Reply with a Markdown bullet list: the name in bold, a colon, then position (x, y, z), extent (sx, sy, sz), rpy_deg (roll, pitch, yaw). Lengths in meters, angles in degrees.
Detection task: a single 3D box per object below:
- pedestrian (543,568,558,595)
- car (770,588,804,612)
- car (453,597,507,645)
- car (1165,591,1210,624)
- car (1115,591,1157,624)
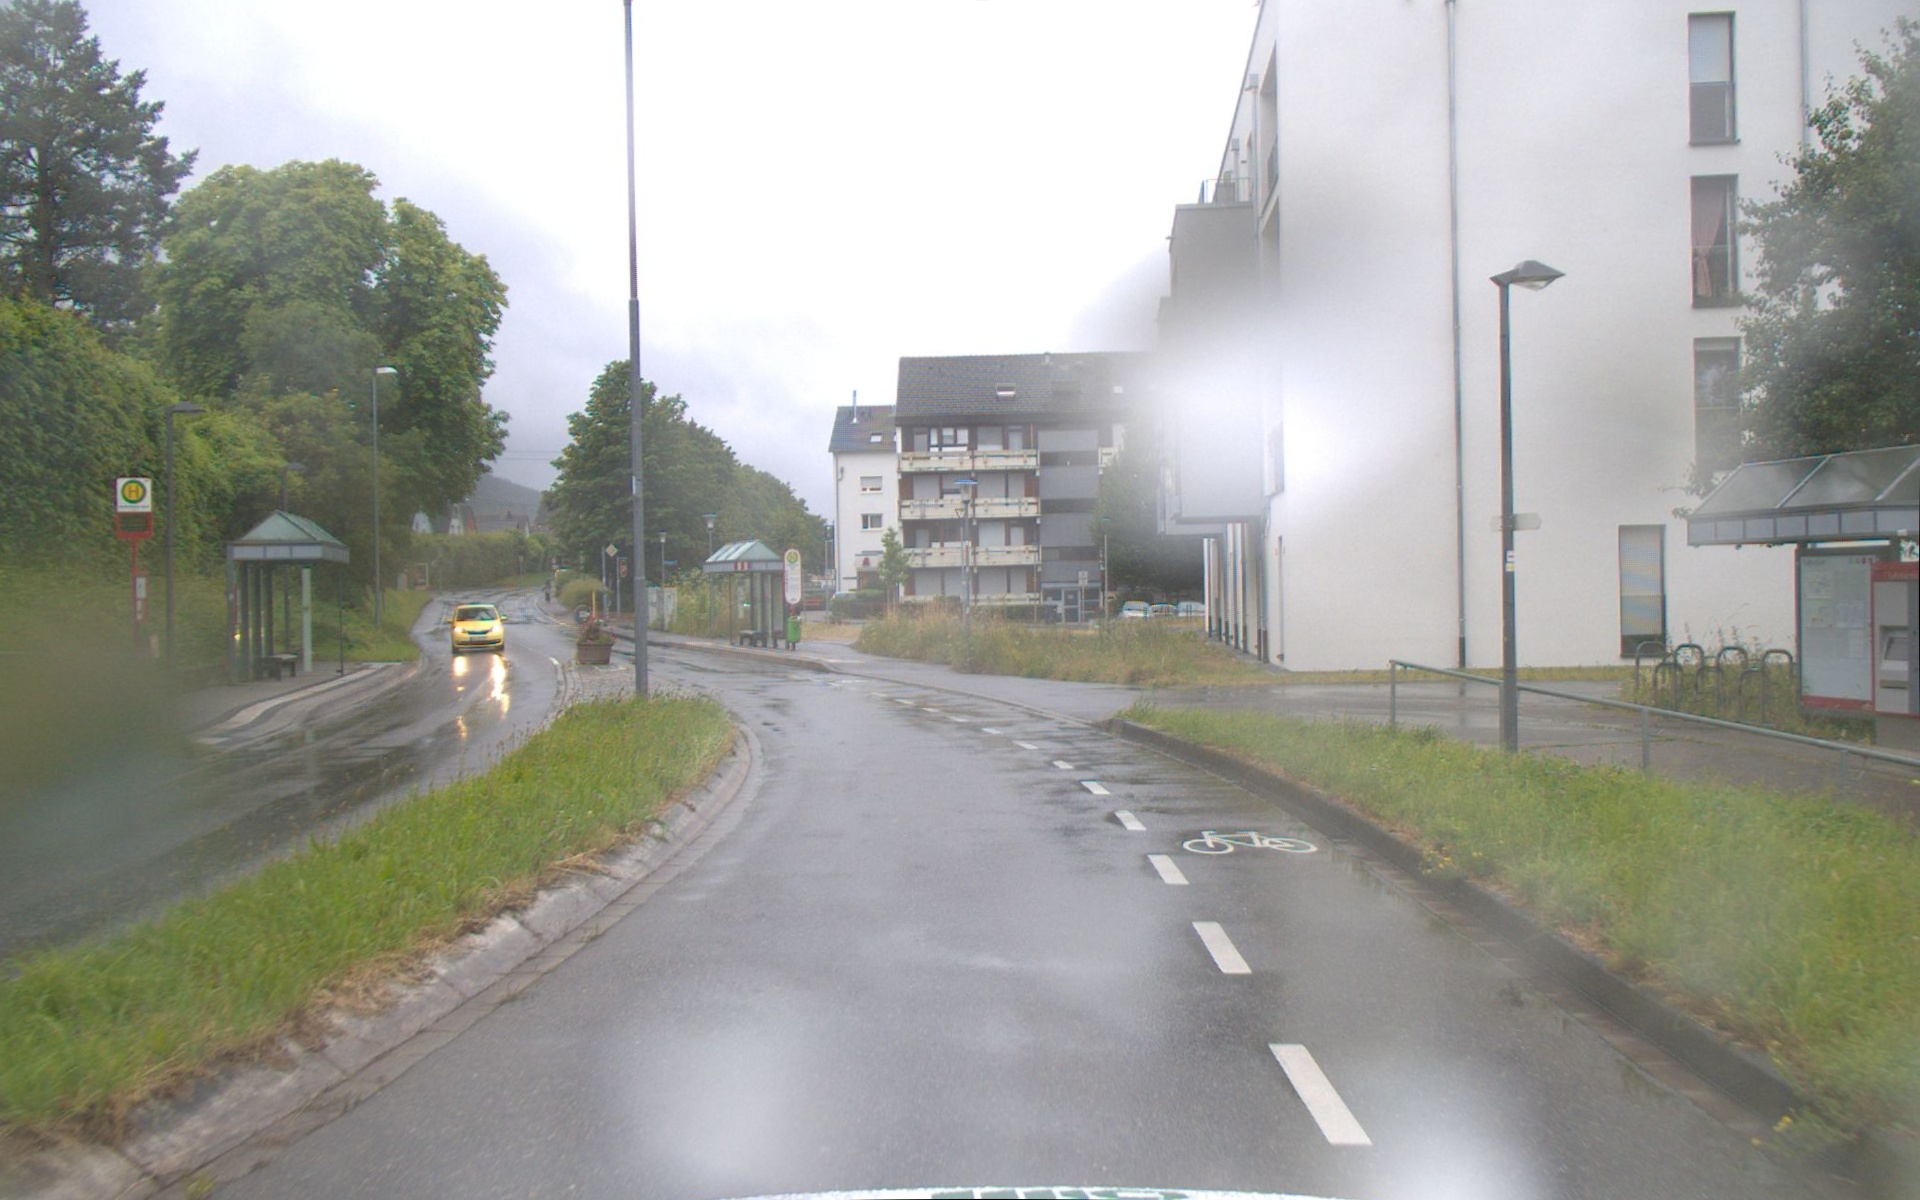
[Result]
- **pedestrian**: position (-27.540, -1.254, 111.295), extent (0.905, 1.704, 1.052), rpy_deg (-3, 2, -16)
- **car**: position (-11.861, -0.006, 113.257), extent (1.661, 1.463, 3.596), rpy_deg (-1, 2, -16)
- **car**: position (-15.615, 0.666, 53.930), extent (1.546, 1.435, 3.460), rpy_deg (-3, 1, -15)
- **car**: position (10.776, 0.369, 78.586), extent (1.680, 1.466, 3.706), rpy_deg (0, -2, 1)
- **car**: position (8.364, 0.368, 78.875), extent (1.680, 1.466, 3.706), rpy_deg (0, -2, 1)
